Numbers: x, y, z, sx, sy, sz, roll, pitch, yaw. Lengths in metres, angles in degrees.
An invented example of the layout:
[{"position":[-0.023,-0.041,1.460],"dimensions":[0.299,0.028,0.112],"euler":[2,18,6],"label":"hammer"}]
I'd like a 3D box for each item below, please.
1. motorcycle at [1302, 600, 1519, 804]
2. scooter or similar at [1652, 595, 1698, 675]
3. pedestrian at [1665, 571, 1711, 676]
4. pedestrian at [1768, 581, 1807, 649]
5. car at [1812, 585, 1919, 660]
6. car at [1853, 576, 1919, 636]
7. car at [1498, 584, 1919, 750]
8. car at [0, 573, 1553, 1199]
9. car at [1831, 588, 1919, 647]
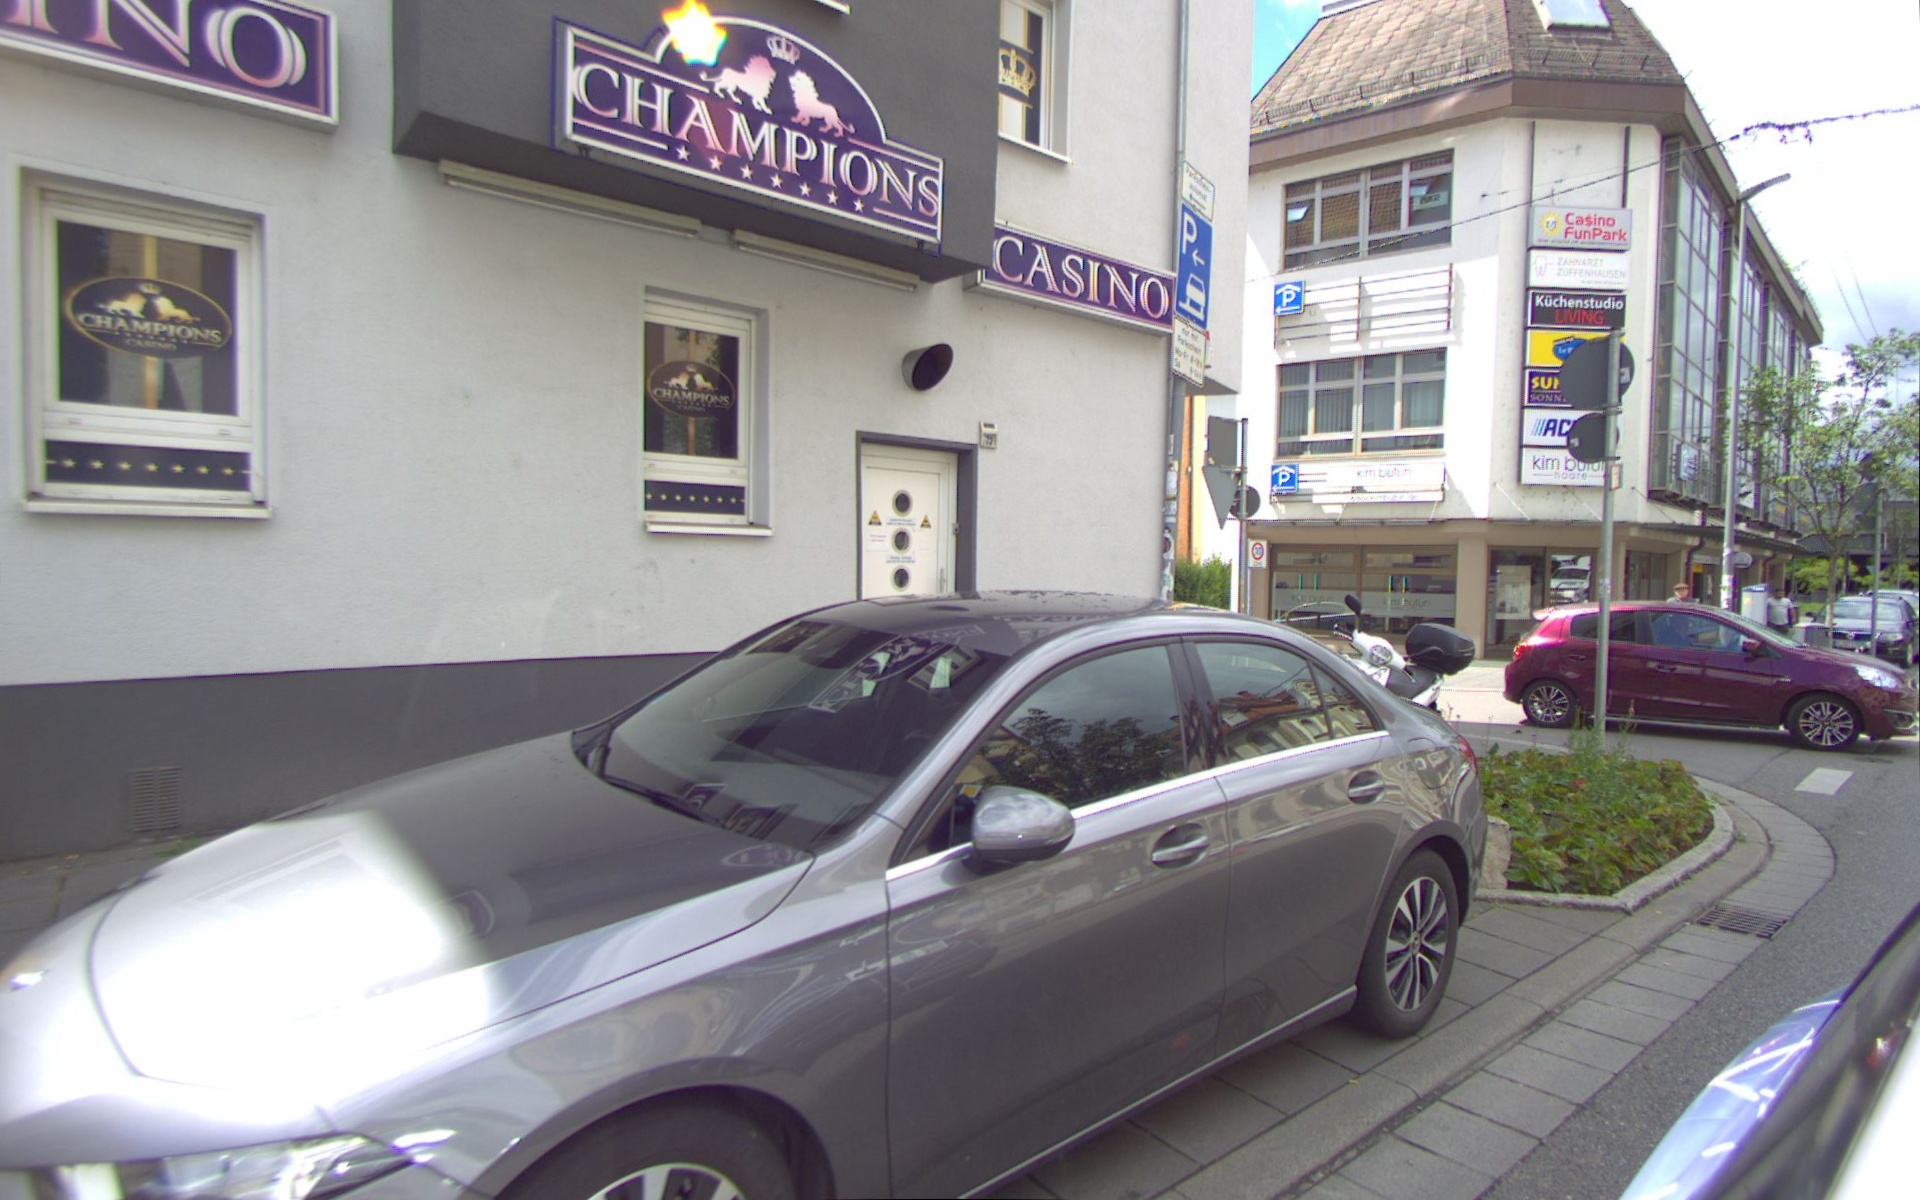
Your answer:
[{"position":[3.463,0.665,7.643],"dimensions":[2.337,1.275,0.659],"euler":[-1,1,-44],"label":"motorcycle"},{"position":[12.132,0.569,17.153],"dimensions":[1.229,1.296,0.431],"euler":[-1,1,-45],"label":"scooter or similar"},{"position":[12.195,0.379,16.949],"dimensions":[0.571,1.724,0.474],"euler":[0,1,44],"label":"pedestrian"},{"position":[19.488,0.348,23.840],"dimensions":[0.469,1.581,0.660],"euler":[-1,1,-42],"label":"pedestrian"},{"position":[20.170,0.422,22.181],"dimensions":[4.475,1.472,1.717],"euler":[0,2,-43],"label":"car"},{"position":[29.200,0.155,31.188],"dimensions":[4.387,1.681,1.825],"euler":[0,4,-40],"label":"car"},{"position":[8.265,0.606,11.288],"dimensions":[1.513,1.549,3.748],"euler":[-1,1,-45],"label":"car"},{"position":[-0.036,0.652,3.095],"dimensions":[4.239,1.438,1.711],"euler":[-1,1,-37],"label":"car"},{"position":[25.283,0.421,27.657],"dimensions":[4.461,1.463,1.853],"euler":[0,2,-44],"label":"car"}]
